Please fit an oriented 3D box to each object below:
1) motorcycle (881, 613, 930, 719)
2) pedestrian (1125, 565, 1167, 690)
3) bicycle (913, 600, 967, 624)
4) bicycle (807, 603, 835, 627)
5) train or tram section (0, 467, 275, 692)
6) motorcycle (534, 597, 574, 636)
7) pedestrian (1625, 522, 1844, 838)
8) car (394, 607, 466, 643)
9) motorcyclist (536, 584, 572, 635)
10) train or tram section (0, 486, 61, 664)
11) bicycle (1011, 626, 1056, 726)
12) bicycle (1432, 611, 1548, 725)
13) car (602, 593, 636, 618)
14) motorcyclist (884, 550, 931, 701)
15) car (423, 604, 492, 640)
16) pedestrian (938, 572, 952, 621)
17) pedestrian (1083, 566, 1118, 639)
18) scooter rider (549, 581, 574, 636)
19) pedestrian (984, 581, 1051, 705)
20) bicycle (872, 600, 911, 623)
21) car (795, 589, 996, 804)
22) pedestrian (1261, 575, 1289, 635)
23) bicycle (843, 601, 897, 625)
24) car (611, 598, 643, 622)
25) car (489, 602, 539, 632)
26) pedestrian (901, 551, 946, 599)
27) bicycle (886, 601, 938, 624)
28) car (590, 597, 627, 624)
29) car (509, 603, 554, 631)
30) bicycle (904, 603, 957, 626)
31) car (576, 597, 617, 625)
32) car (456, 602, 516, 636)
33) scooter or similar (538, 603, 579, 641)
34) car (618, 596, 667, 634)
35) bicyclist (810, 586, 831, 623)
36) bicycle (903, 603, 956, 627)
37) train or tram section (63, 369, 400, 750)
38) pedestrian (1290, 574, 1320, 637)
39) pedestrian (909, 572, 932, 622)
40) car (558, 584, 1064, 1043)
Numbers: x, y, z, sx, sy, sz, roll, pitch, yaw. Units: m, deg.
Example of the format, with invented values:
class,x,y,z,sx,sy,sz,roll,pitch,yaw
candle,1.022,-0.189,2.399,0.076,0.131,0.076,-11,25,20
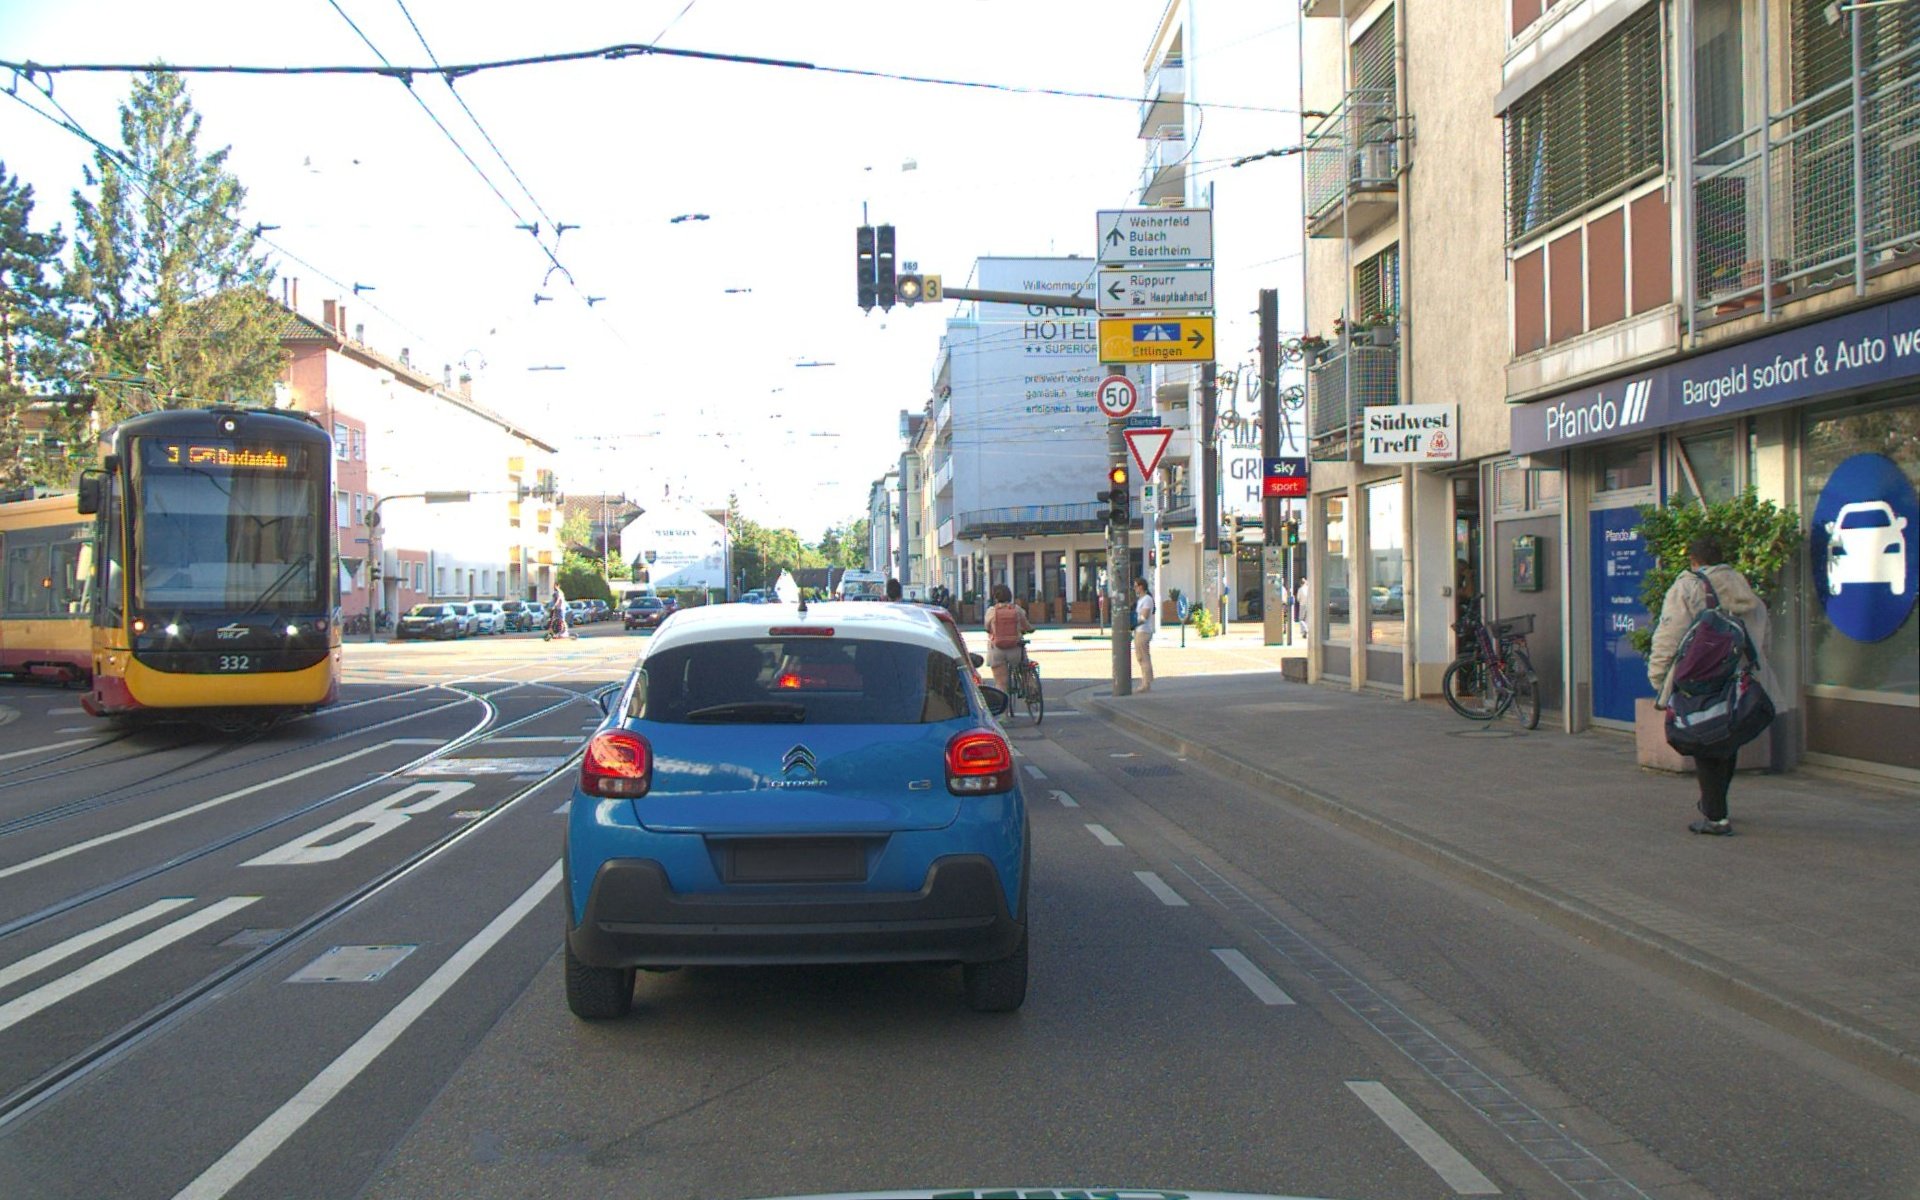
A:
class,x,y,z,sx,sy,sz,roll,pitch,yaw
motorcycle,-0.620,0.736,19.416,0.515,1.159,2.289,1,0,-1
pedestrian,2.742,0.400,24.369,0.507,1.814,0.595,1,-1,-3
bicycle,-0.804,0.494,65.934,2.093,0.917,0.366,1,-1,-10
bicycle,-5.607,0.604,66.731,0.345,0.919,1.839,1,0,-32
train or tram section,-16.455,-0.383,31.146,8.917,3.694,2.819,1,0,41
motorcycle,-16.451,0.667,67.122,0.905,1.512,3.723,1,0,-4
pedestrian,4.152,0.414,8.915,0.808,1.620,0.751,1,-1,-1
car,-21.908,1.014,68.474,1.757,1.446,3.994,1,0,-2
motorcyclist,-16.442,0.376,67.027,1.162,2.049,1.274,-1,0,-4
train or tram section,-26.334,-0.614,37.178,13.932,3.695,2.752,1,0,24
bicycle,0.895,0.911,20.521,0.419,1.142,1.998,1,0,-1
bicycle,5.045,0.620,15.827,0.531,1.016,1.705,1,0,-1
car,-23.947,0.388,116.289,1.797,1.716,3.997,1,0,-4
motorcyclist,-0.612,0.294,19.606,0.516,1.746,0.717,1,-1,-1
car,-22.277,0.959,73.422,1.778,1.524,4.299,1,0,-1
pedestrian,-0.642,-0.152,70.240,0.565,2.049,0.625,1,-1,-3
pedestrian,3.986,0.077,46.955,0.907,2.049,0.759,1,-1,-1
scooter rider,-13.814,0.301,57.336,0.708,1.864,0.716,-1,0,-8
pedestrian,0.700,0.521,20.250,0.761,1.486,0.681,1,-1,-1
bicycle,-2.895,0.485,69.403,1.751,0.917,0.365,1,-1,34
car,-0.475,0.690,13.156,1.395,1.493,2.923,-1,0,-1
pedestrian,8.670,0.129,45.487,0.720,1.629,0.749,1,-1,12
bicycle,-3.596,0.533,66.104,2.093,0.917,0.366,1,-1,-10
car,-24.333,0.715,120.902,1.809,1.716,3.871,1,0,-4
car,-23.080,0.875,85.729,1.750,1.524,3.997,1,0,-4
pedestrian,-1.606,-1.076,73.524,1.953,2.049,3.999,1,0,-1
bicycle,-1.970,0.509,68.306,2.093,0.917,0.366,1,-1,-10
car,-23.562,0.686,111.008,1.845,1.716,3.997,1,0,-4
car,-23.740,0.922,91.759,1.699,1.524,3.996,1,0,-5
bicycle,-1.204,0.579,67.093,2.093,0.917,0.366,1,-1,-10
car,-23.245,0.705,105.935,1.944,1.716,3.997,1,0,-4
car,-22.647,0.888,79.122,1.751,1.537,4.148,1,0,-2
scooter or similar,-13.911,0.766,57.334,1.324,1.291,0.443,0,0,-9
car,-14.583,0.693,76.167,1.740,1.695,3.853,1,0,-4
bicyclist,-5.650,0.183,66.830,0.556,1.503,0.739,1,-1,-34
bicycle,-1.250,0.608,67.522,2.093,0.917,0.366,1,-1,-10
train or tram section,-10.089,-0.450,22.178,3.027,3.656,12.517,-2,1,-27
pedestrian,9.501,0.154,45.471,0.736,1.686,0.884,1,-1,15
pedestrian,-1.643,-0.120,69.168,0.625,2.049,0.715,1,-1,-37
car,-0.506,0.704,7.150,1.620,1.469,3.522,1,0,-1
